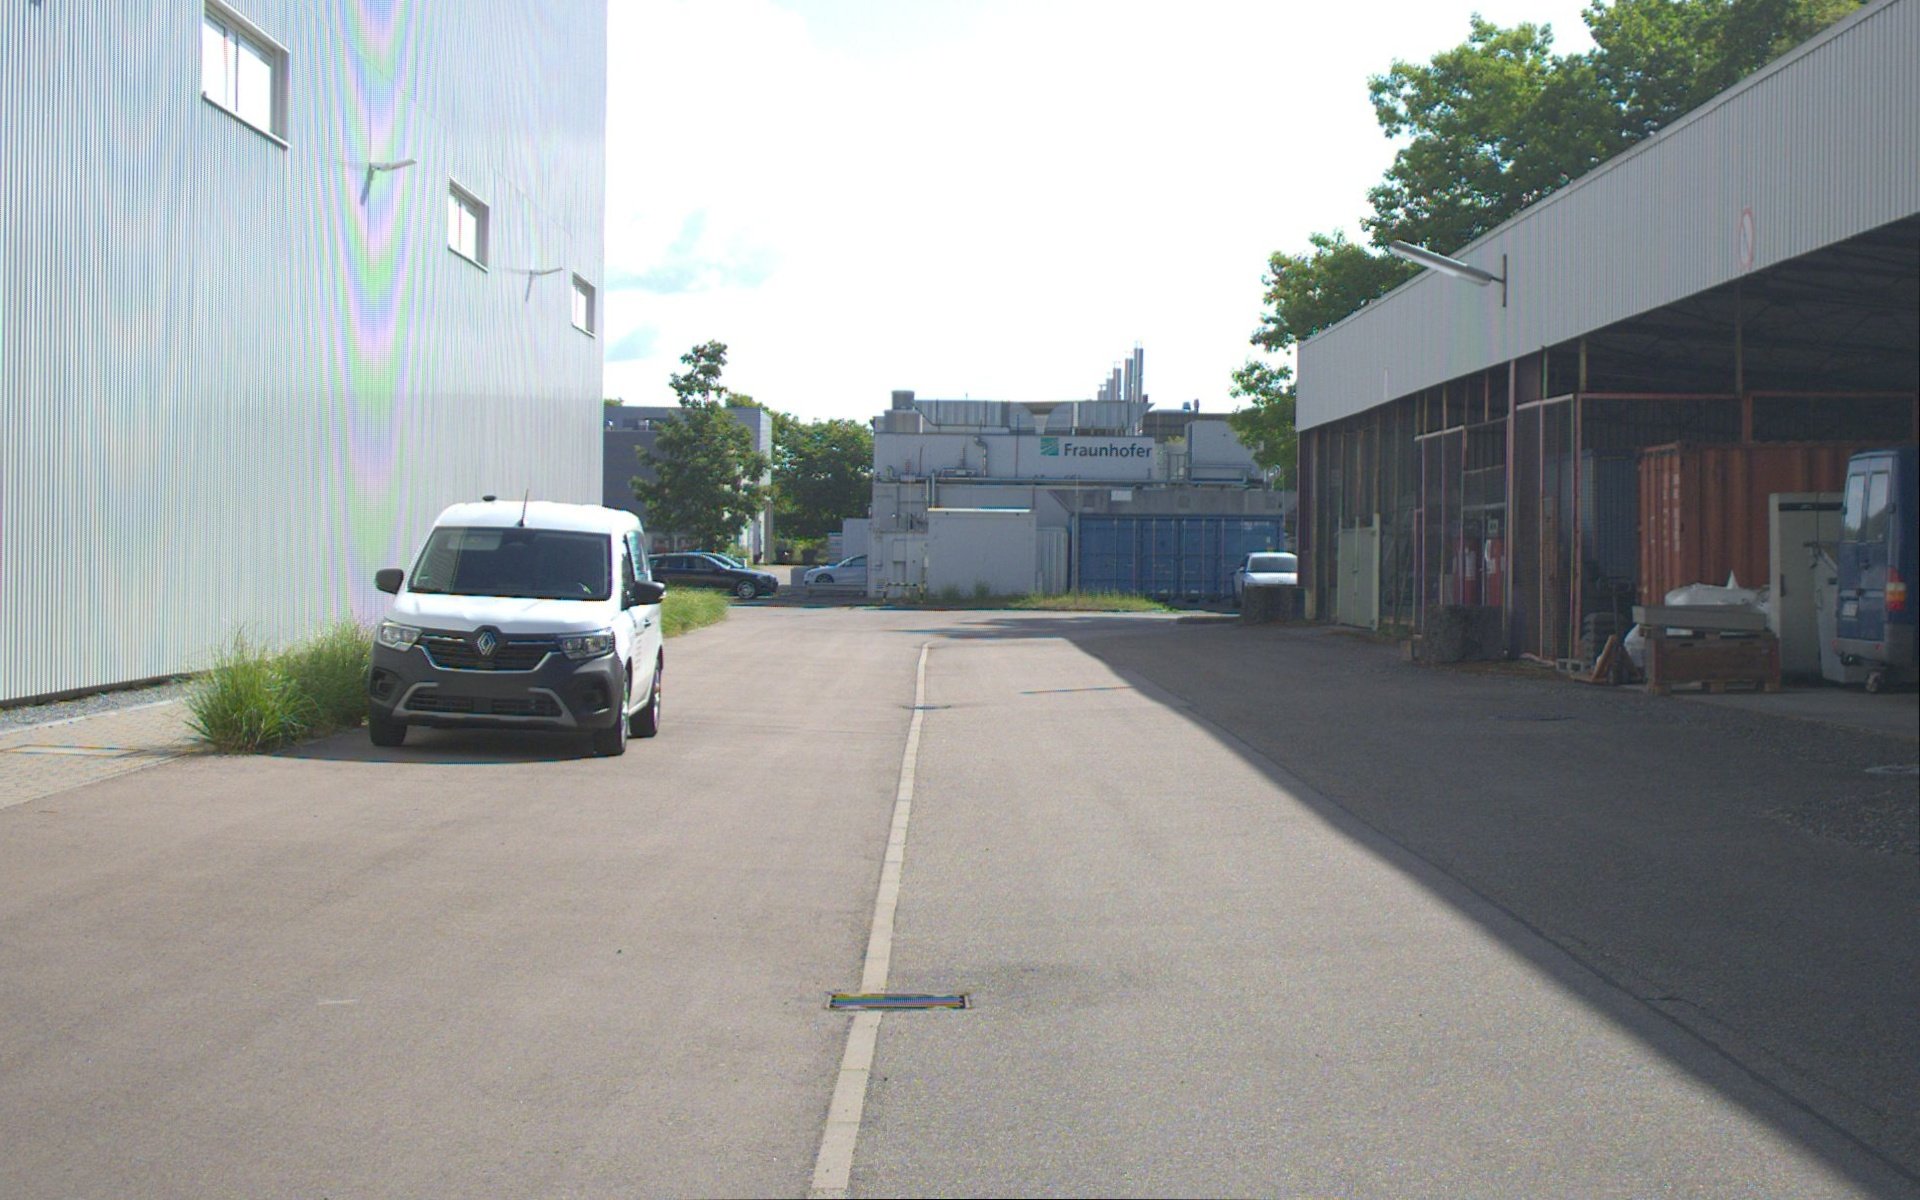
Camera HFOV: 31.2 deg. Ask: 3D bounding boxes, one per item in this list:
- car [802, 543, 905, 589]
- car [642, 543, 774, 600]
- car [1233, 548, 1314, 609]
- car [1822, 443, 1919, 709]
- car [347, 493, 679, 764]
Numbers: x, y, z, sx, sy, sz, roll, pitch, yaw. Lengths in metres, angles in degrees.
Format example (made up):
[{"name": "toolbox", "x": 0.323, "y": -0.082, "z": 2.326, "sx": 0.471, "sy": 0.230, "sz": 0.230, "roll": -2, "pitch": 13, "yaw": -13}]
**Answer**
[{"name": "car", "x": -4.188, "y": -1.338, "z": 135.671, "sx": 3.987, "sy": 1.592, "sz": 1.848, "roll": 2, "pitch": -1, "yaw": -1}, {"name": "car", "x": -7.893, "y": -0.898, "z": 107.807, "sx": 3.987, "sy": 1.592, "sz": 1.742, "roll": 2, "pitch": -1, "yaw": -1}, {"name": "car", "x": 8.665, "y": -0.612, "z": 95.325, "sx": 1.962, "sy": 1.559, "sz": 4.059, "roll": 2, "pitch": 1, "yaw": 2}, {"name": "car", "x": 10.218, "y": -0.117, "z": 30.842, "sx": 4.433, "sy": 2.302, "sz": 1.915, "roll": 2, "pitch": -1, "yaw": 1}, {"name": "car", "x": -3.219, "y": 0.150, "z": 25.572, "sx": 1.818, "sy": 1.781, "sz": 4.405, "roll": 2, "pitch": 1, "yaw": 0}]
